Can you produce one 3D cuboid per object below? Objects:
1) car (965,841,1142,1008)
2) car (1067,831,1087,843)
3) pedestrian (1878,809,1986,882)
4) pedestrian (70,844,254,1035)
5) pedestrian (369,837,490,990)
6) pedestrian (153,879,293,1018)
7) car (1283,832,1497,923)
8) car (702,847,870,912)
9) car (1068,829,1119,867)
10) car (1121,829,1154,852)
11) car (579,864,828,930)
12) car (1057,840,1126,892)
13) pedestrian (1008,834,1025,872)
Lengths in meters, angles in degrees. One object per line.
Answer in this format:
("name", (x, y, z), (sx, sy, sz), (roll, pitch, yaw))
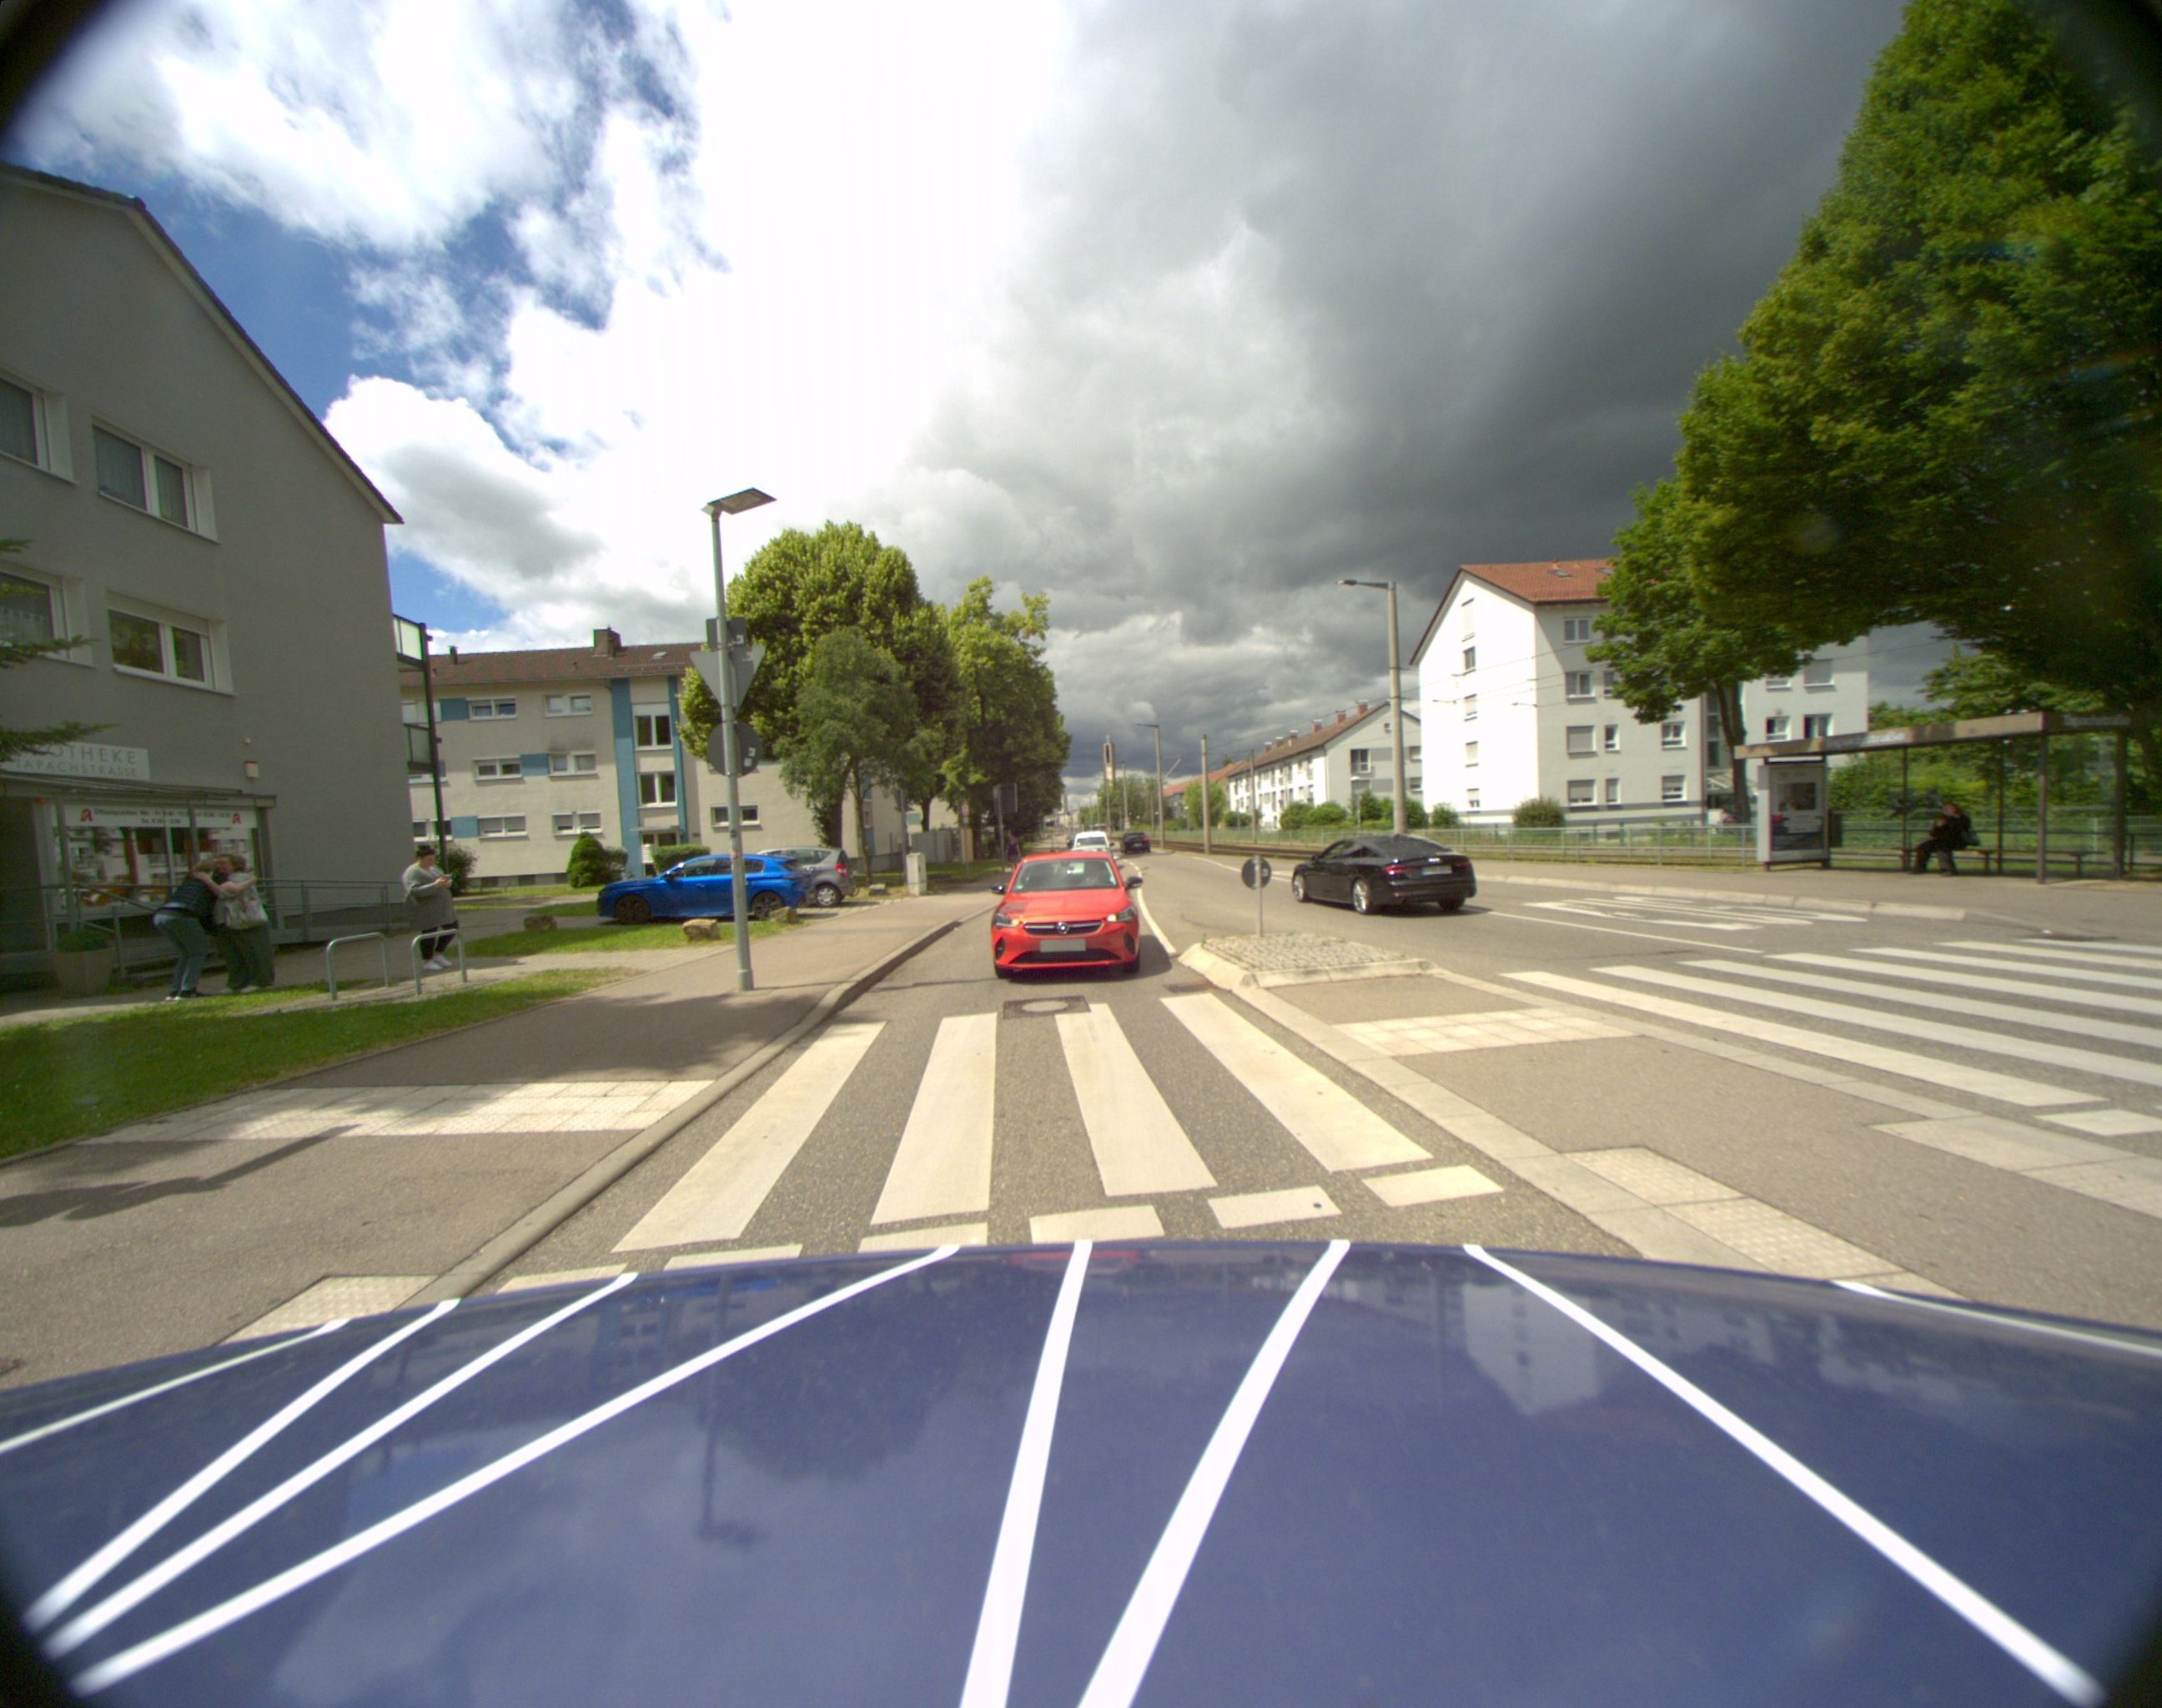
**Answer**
("car", (-0.296, 0.729, 10.175), (1.766, 1.549, 3.998), (-5, 3, 0))
("car", (-0.475, -1.992, 90.327), (1.917, 1.309, 4.000), (-2, 2, 7))
("pedestrian", (14.245, -0.146, 12.744), (0.800, 1.129, 0.911), (-4, 2, -5))
("pedestrian", (-10.337, 0.904, 8.603), (0.655, 2.002, 1.046), (-2, 2, -4))
("pedestrian", (-8.855, 0.762, 10.348), (0.840, 1.945, 0.944), (-1, 3, 34))
("pedestrian", (-10.186, 1.096, 9.058), (0.744, 1.521, 0.690), (-2, 2, -6))
("car", (5.613, 0.306, 14.572), (1.823, 1.376, 4.614), (-2, 2, -6))
("car", (-7.628, 0.628, 20.032), (3.741, 1.548, 2.030), (-1, 2, -8))
("car", (0.520, -0.321, 35.298), (1.999, 1.598, 3.997), (-2, 2, -3))
("car", (4.031, -1.032, 54.850), (1.999, 1.517, 4.522), (-2, 2, -1))
("car", (-8.062, 0.885, 16.685), (4.498, 1.236, 1.998), (0, 2, -10))
("car", (0.428, 0.310, 24.381), (1.763, 1.390, 4.000), (-2, 2, 7))
("pedestrian", (-2.875, -0.049, 33.947), (0.684, 1.651, 0.831), (-2, 3, -7))
